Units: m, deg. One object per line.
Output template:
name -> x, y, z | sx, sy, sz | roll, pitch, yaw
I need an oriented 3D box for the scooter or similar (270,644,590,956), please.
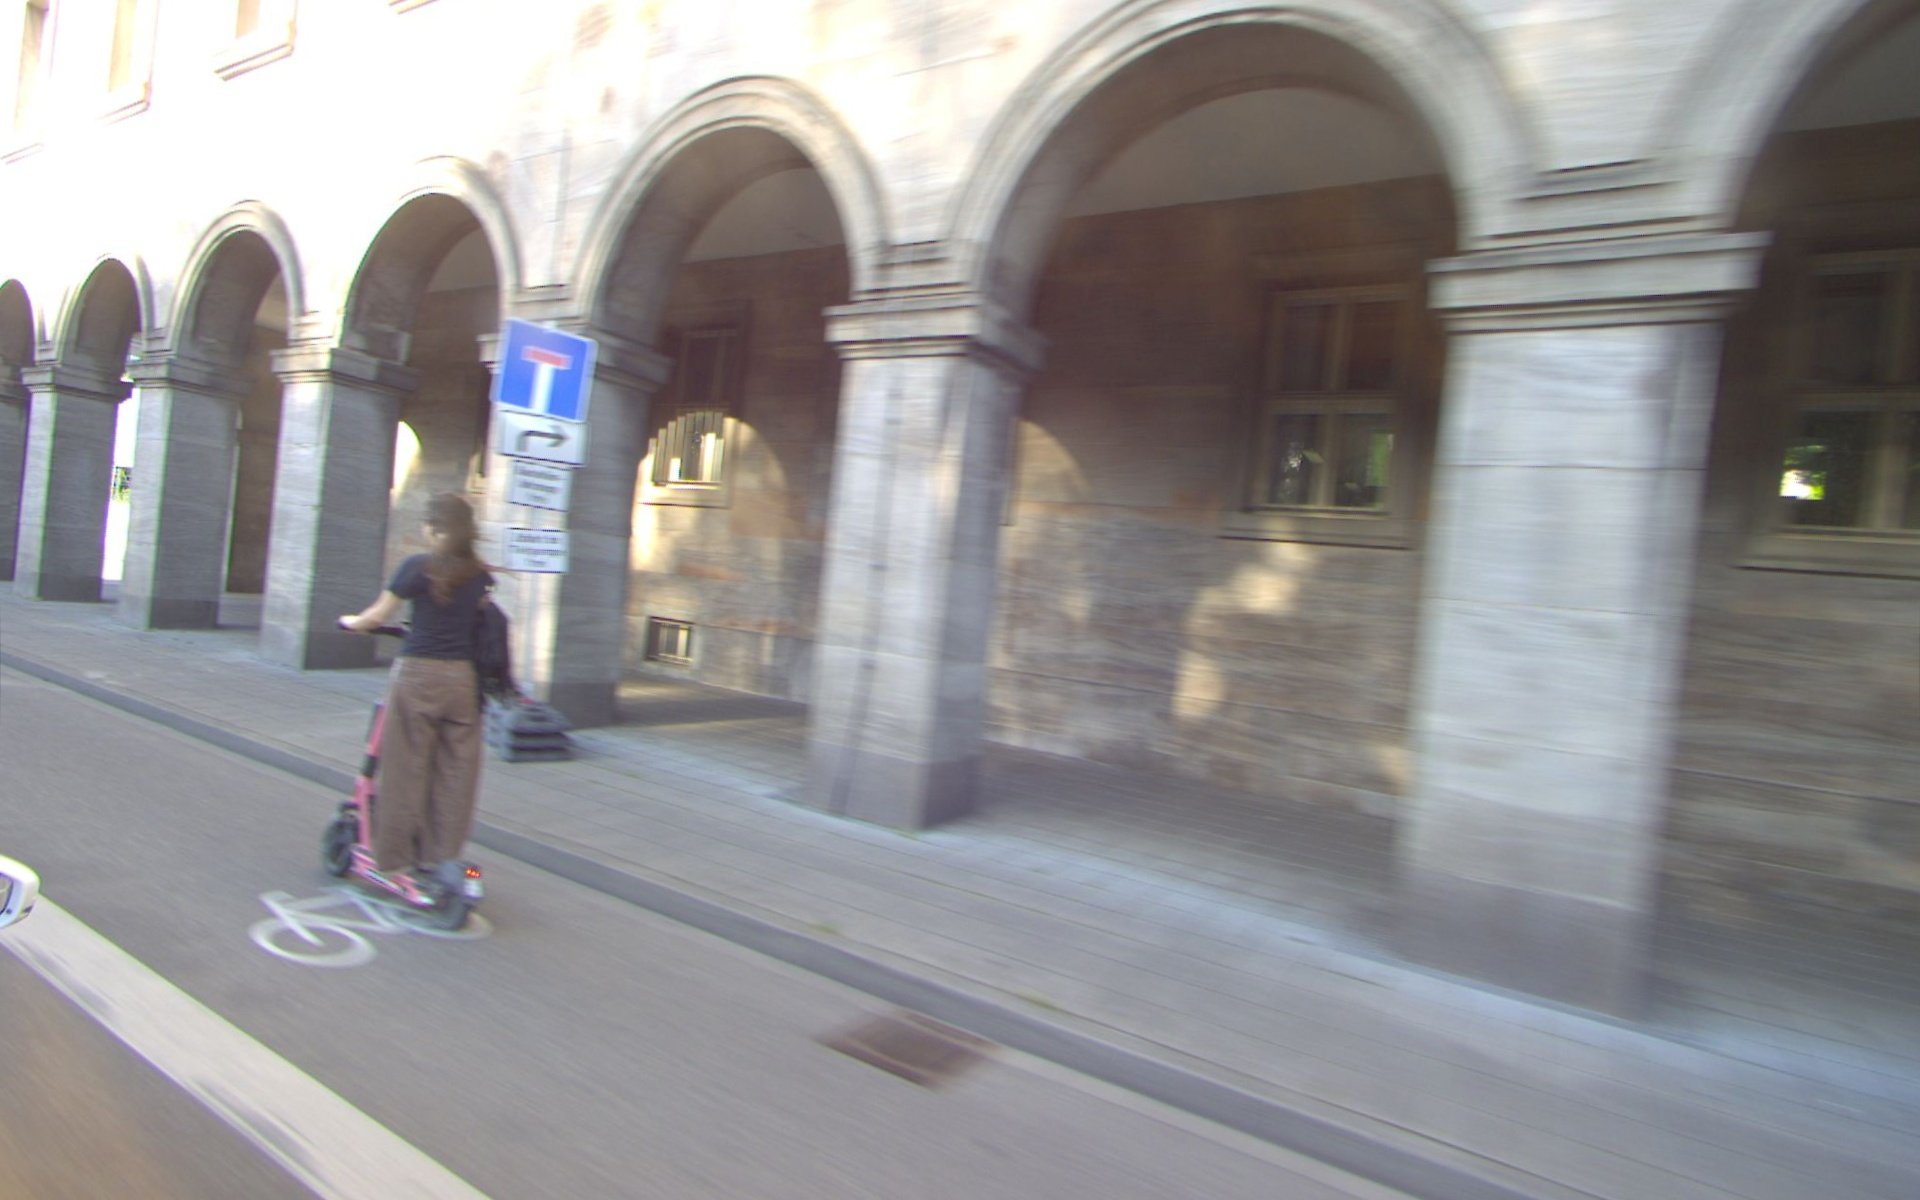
scooter or similar -> -2.231, 0.773, 4.239 | 1.097, 1.044, 0.556 | 7, 1, 24

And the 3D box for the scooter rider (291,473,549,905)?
scooter rider -> -2.290, 0.347, 4.289 | 0.638, 1.652, 0.562 | 7, 1, 25

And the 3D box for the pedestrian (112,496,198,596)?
pedestrian -> -14.059, -0.941, 17.575 | 0.936, 1.589, 0.777 | 7, 1, 30
